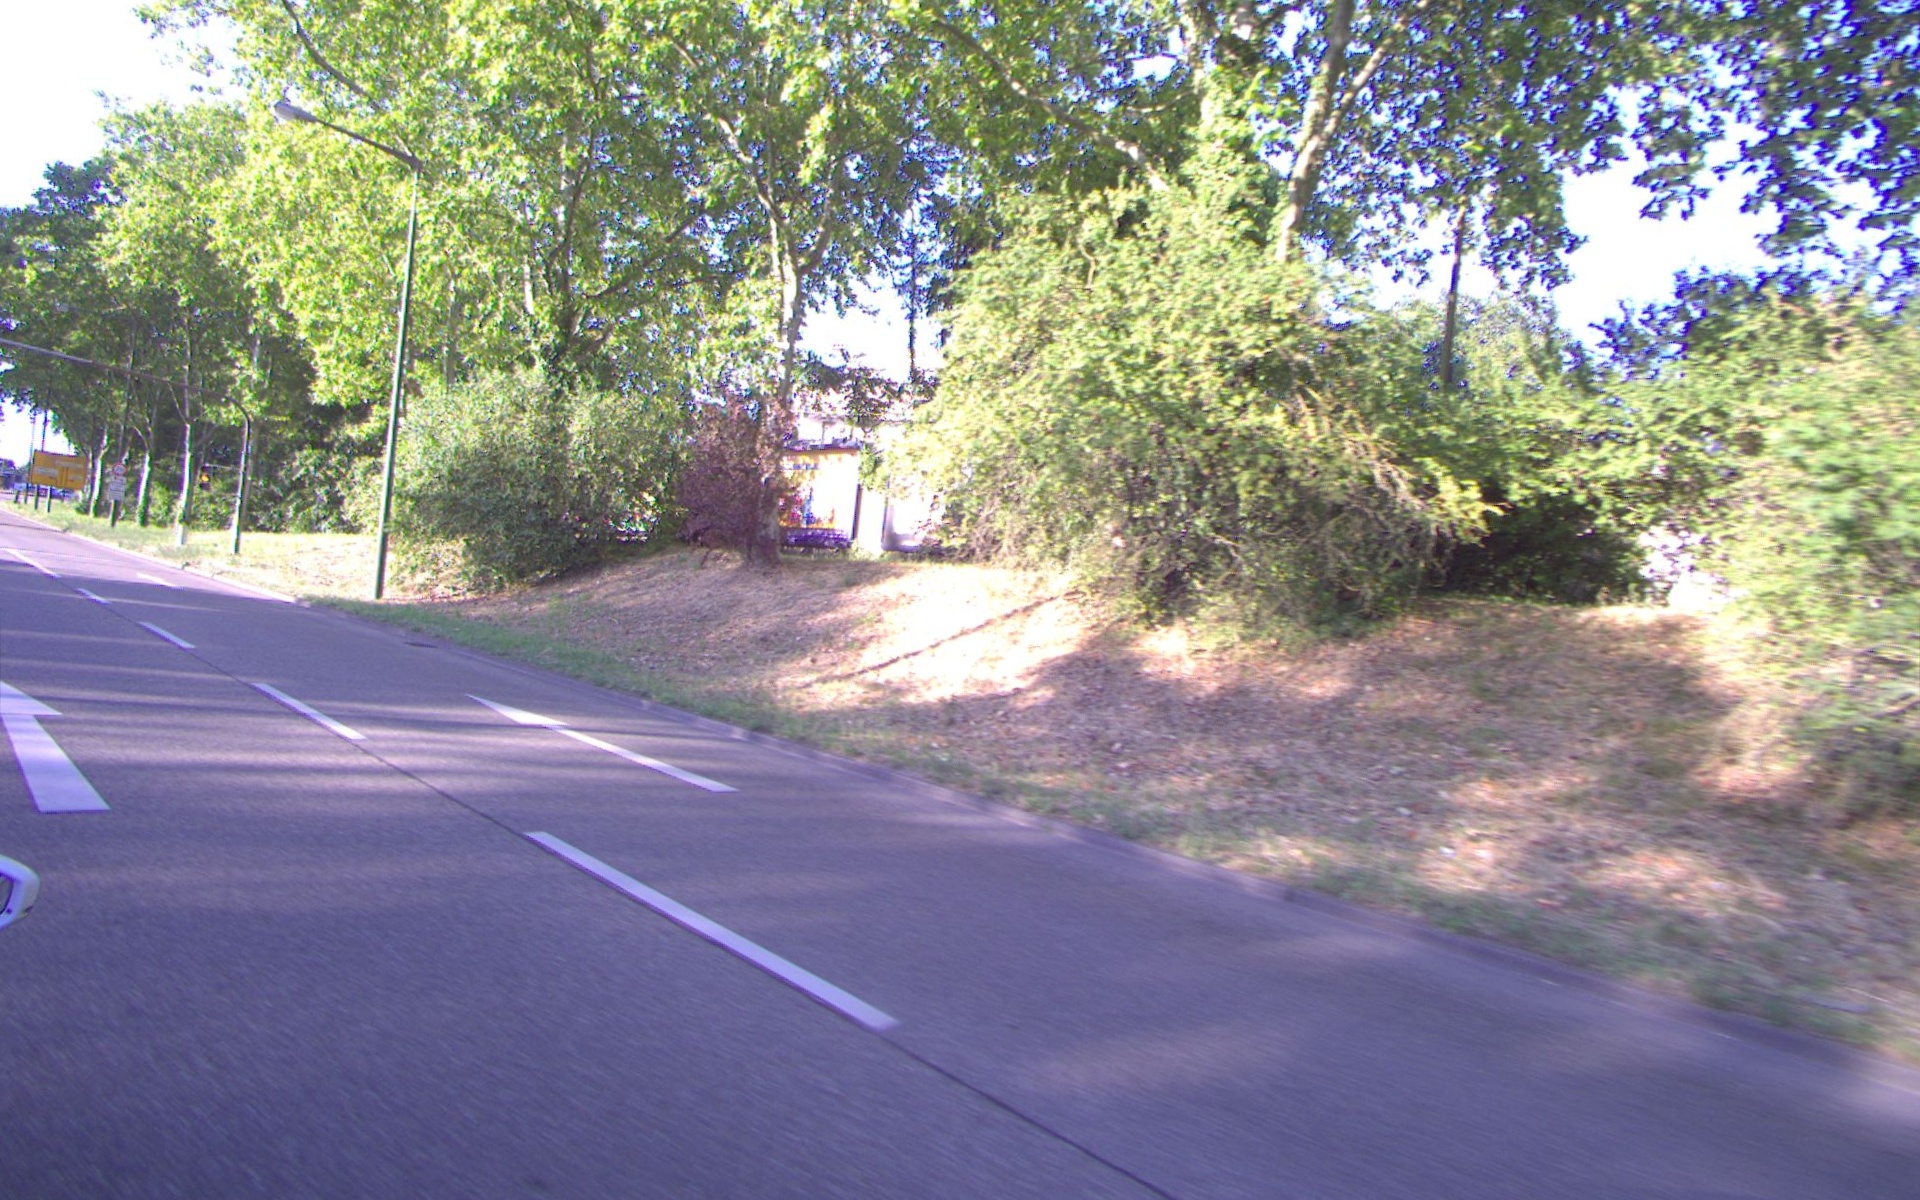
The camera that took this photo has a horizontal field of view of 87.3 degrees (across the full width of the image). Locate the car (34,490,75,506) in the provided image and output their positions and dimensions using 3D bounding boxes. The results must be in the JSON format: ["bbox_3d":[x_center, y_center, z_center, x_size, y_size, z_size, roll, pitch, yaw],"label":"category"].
[{"bbox_3d":[-123.277,-13.857,136.947,1.764,1.419,3.692,7,-1,12],"label":"car"}]
